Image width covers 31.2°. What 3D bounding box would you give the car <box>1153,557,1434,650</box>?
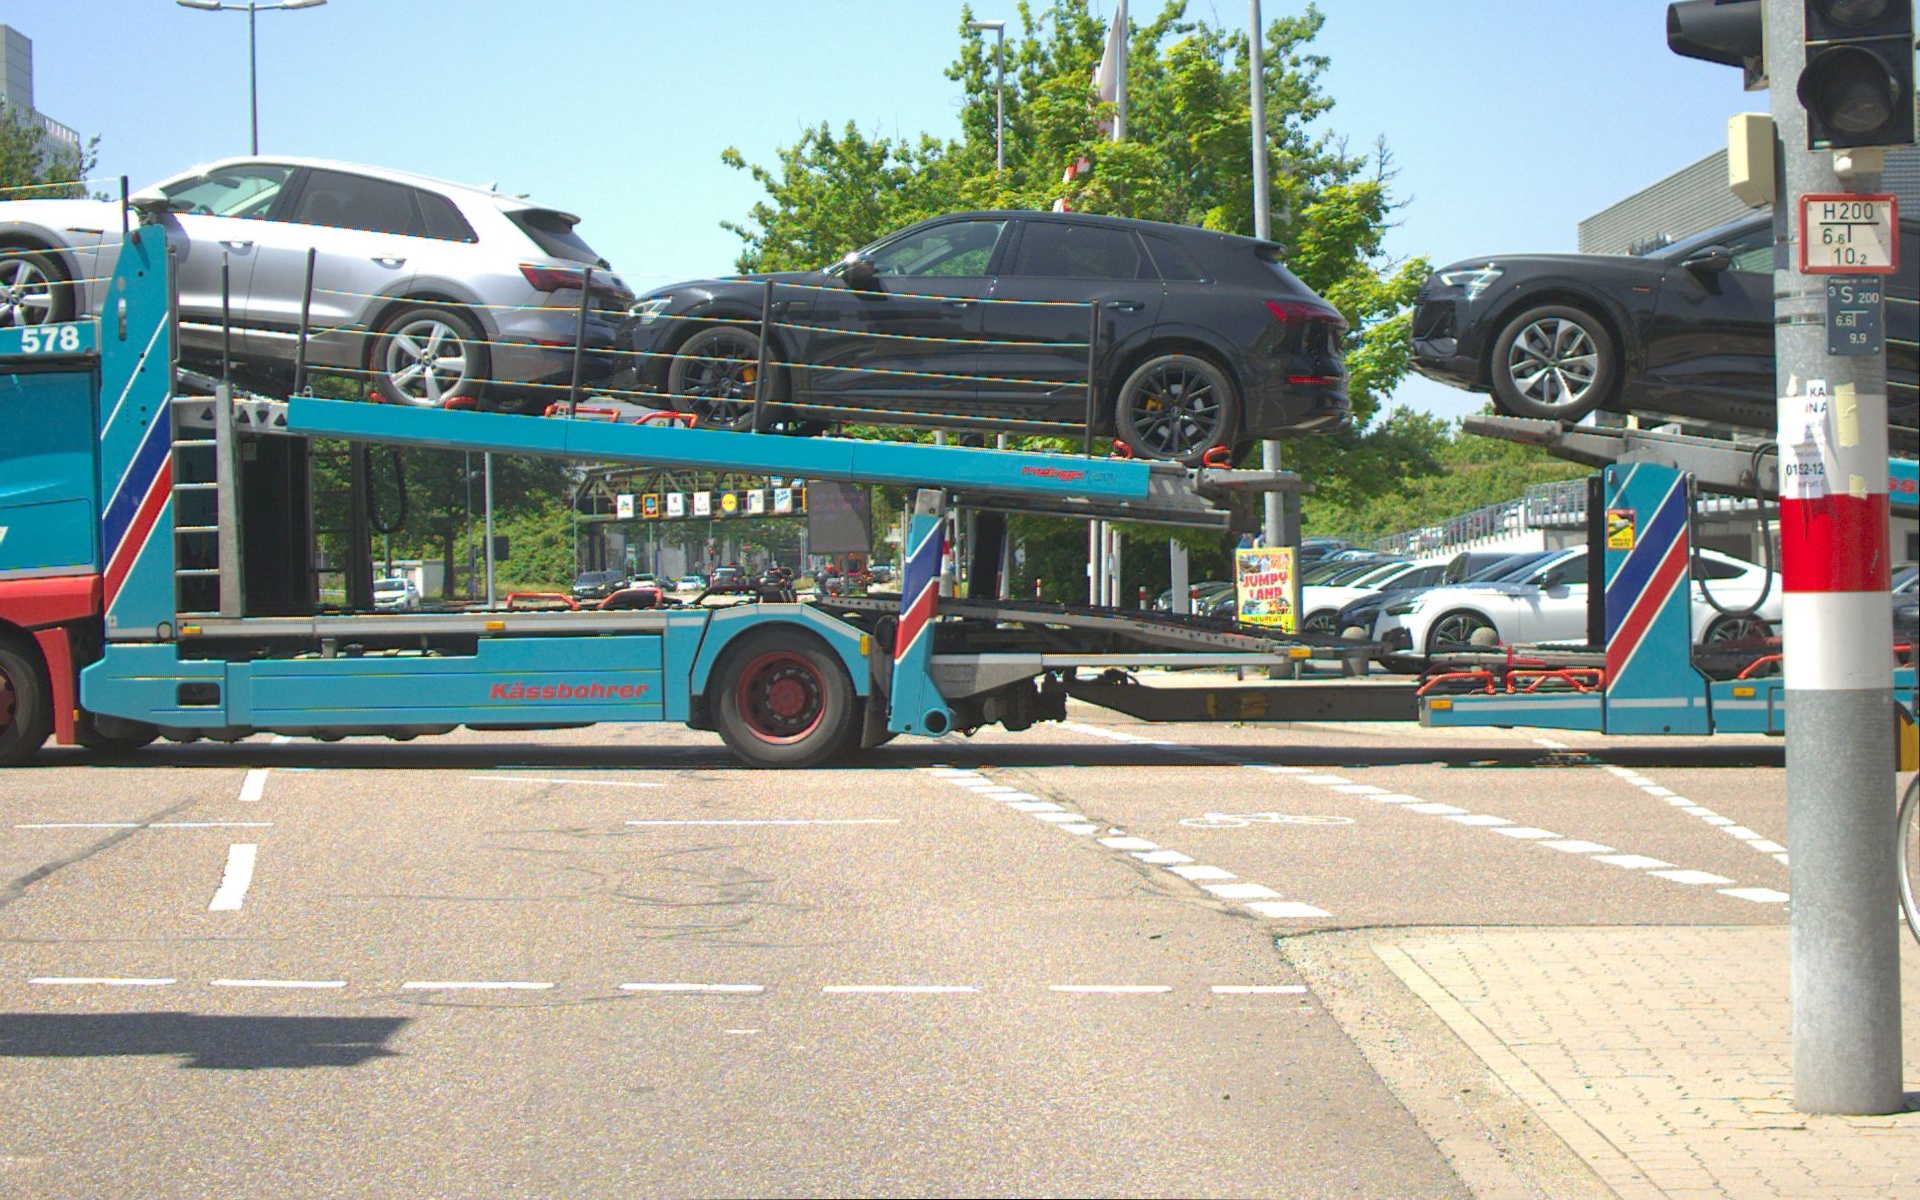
[{"bbox_3d":[5.936,0.047,61.634,4.741,1.452,2.000,-2,1,-2],"label":"car"}]

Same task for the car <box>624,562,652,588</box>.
[{"bbox_3d":[-21.107,-1.620,225.434,1.648,1.647,4.164,-1,1,-3],"label":"car"}]

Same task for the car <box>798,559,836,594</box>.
[{"bbox_3d":[-4.476,-0.738,107.922,1.137,1.038,2.308,-1,1,-1],"label":"car"}]

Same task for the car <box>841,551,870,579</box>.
[{"bbox_3d":[-6.777,-2.256,222.869,1.772,1.722,4.000,-1,0,-1],"label":"car"}]

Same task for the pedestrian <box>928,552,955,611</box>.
[{"bbox_3d":[-0.479,-0.486,89.708,0.668,1.505,0.736,-1,1,-1],"label":"pedestrian"}]

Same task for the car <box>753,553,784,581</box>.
[{"bbox_3d":[-12.409,-2.127,222.881,1.772,1.722,4.000,-1,0,-1],"label":"car"}]

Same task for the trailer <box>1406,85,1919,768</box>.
[{"bbox_3d":[7.691,-1.058,21.762,9.615,4.067,3.094,0,0,8],"label":"trailer"}]

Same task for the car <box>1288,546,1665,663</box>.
[{"bbox_3d":[6.943,0.045,46.536,4.741,1.452,2.000,-1,1,-2],"label":"car"}]

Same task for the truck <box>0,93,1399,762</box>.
[{"bbox_3d":[-2.417,-1.034,23.188,10.621,4.069,3.099,0,0,8],"label":"truck"}]

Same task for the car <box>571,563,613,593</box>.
[{"bbox_3d":[-18.570,-1.117,173.704,1.732,1.422,3.706,-3,0,-1],"label":"car"}]

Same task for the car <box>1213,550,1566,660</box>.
[{"bbox_3d":[6.115,0.054,49.296,4.741,1.452,2.000,-1,1,-2],"label":"car"}]

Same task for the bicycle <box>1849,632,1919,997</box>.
[{"bbox_3d":[3.428,0.690,10.501,0.786,1.123,1.921,0,1,-5],"label":"bicycle"}]

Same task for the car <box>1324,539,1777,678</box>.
[{"bbox_3d":[6.571,0.097,38.654,4.741,1.452,2.000,-1,0,1],"label":"car"}]

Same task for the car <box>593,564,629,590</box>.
[{"bbox_3d":[-19.654,-1.284,193.668,1.684,1.406,3.665,-1,0,-1],"label":"car"}]

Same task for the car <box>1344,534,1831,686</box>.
[{"bbox_3d":[6.494,0.082,35.989,4.741,1.452,2.000,-1,1,1],"label":"car"}]

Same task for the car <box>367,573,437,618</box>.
[{"bbox_3d":[-21.622,-0.194,133.327,1.926,1.659,4.089,-1,0,2],"label":"car"}]

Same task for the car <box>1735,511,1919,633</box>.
[{"bbox_3d":[15.609,-0.508,59.301,3.987,2.007,2.000,-1,1,0],"label":"car"}]

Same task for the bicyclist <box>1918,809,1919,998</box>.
[{"bbox_3d":[3.406,0.385,10.417,0.733,1.743,0.754,0,1,-5],"label":"bicyclist"}]
